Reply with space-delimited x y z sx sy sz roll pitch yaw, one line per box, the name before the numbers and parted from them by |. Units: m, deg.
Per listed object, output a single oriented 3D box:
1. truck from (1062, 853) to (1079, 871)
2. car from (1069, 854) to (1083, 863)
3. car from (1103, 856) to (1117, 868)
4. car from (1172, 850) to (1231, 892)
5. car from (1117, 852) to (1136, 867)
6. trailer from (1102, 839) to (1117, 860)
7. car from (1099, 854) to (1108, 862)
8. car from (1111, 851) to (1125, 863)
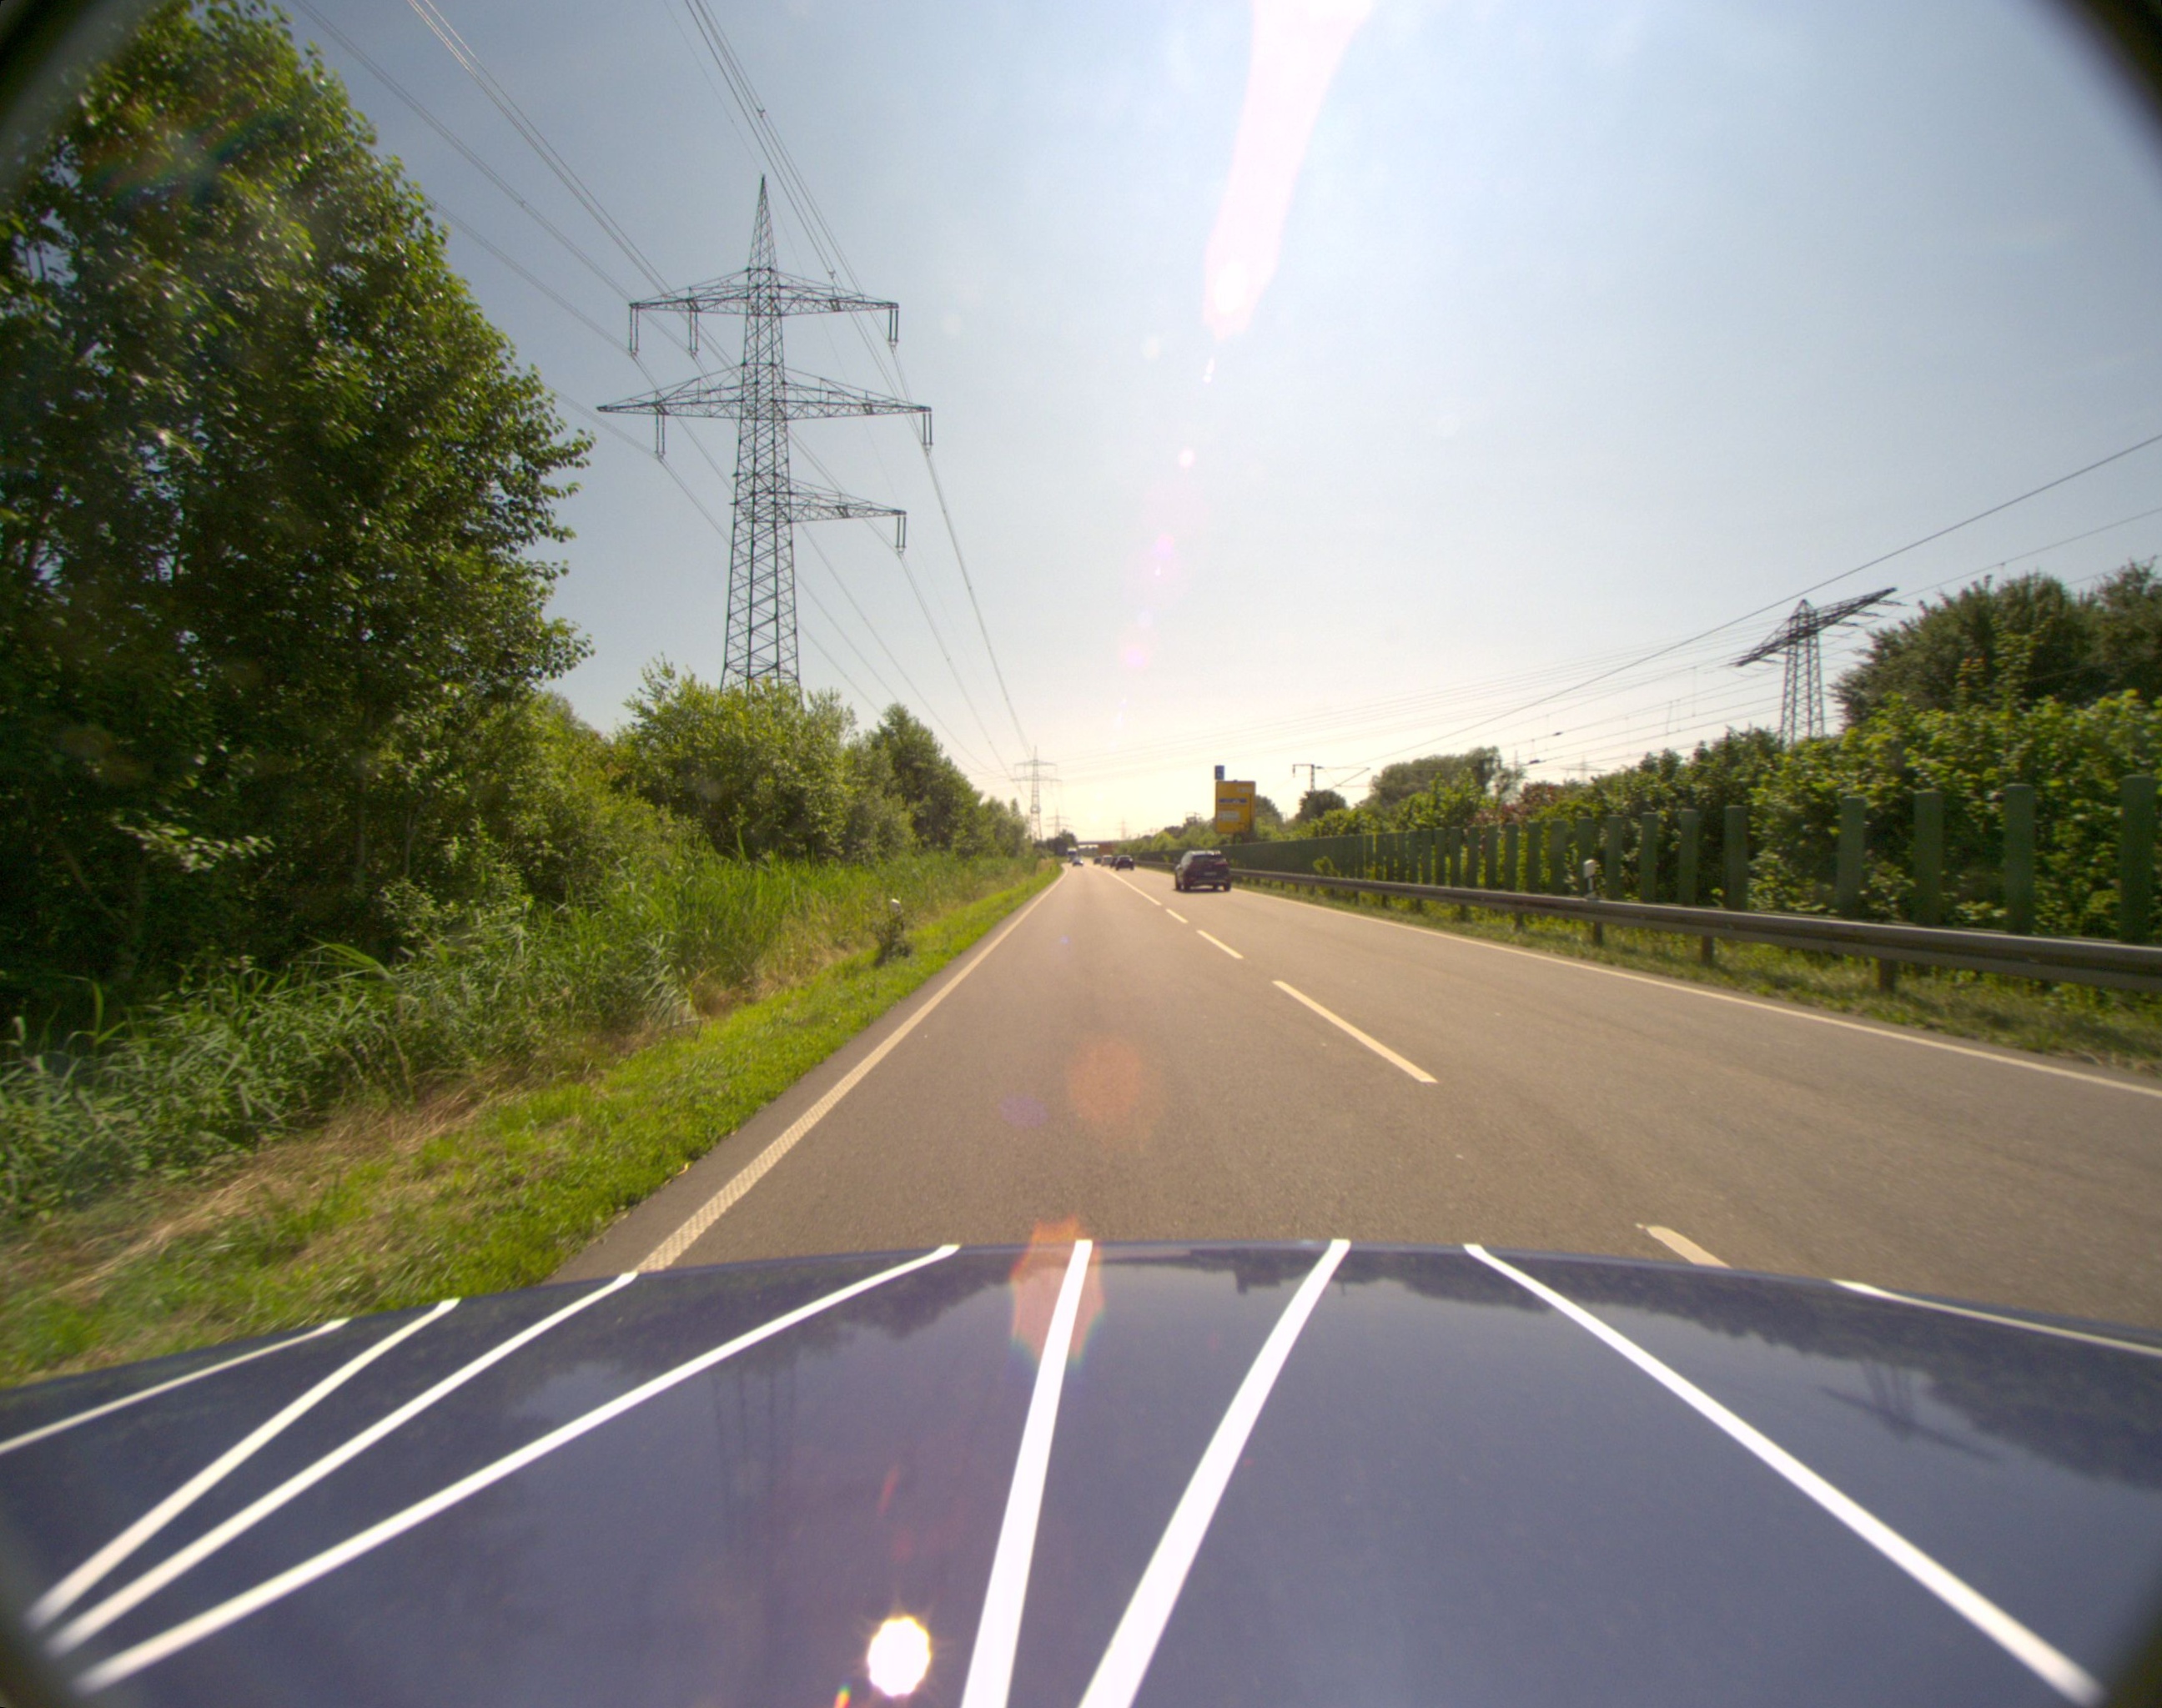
truck | -2.839 2.054 207.262 4.219 4.608 21.302 -2 0 0
car | -0.801 0.716 119.686 1.999 1.346 4.157 -3 1 0
car | 4.272 1.170 112.656 1.829 1.596 4.323 -2 0 1
car | 4.990 0.666 31.949 1.806 1.578 4.370 -1 0 1
car | 4.653 0.543 78.689 1.677 1.506 4.289 -1 0 0
trailer | 5.914 -0.962 158.126 2.555 4.120 9.227 -2 0 0
car | 4.060 0.680 137.521 1.618 1.433 3.794 -2 0 0
car | 4.723 0.369 96.675 1.510 1.426 3.742 -2 0 0
